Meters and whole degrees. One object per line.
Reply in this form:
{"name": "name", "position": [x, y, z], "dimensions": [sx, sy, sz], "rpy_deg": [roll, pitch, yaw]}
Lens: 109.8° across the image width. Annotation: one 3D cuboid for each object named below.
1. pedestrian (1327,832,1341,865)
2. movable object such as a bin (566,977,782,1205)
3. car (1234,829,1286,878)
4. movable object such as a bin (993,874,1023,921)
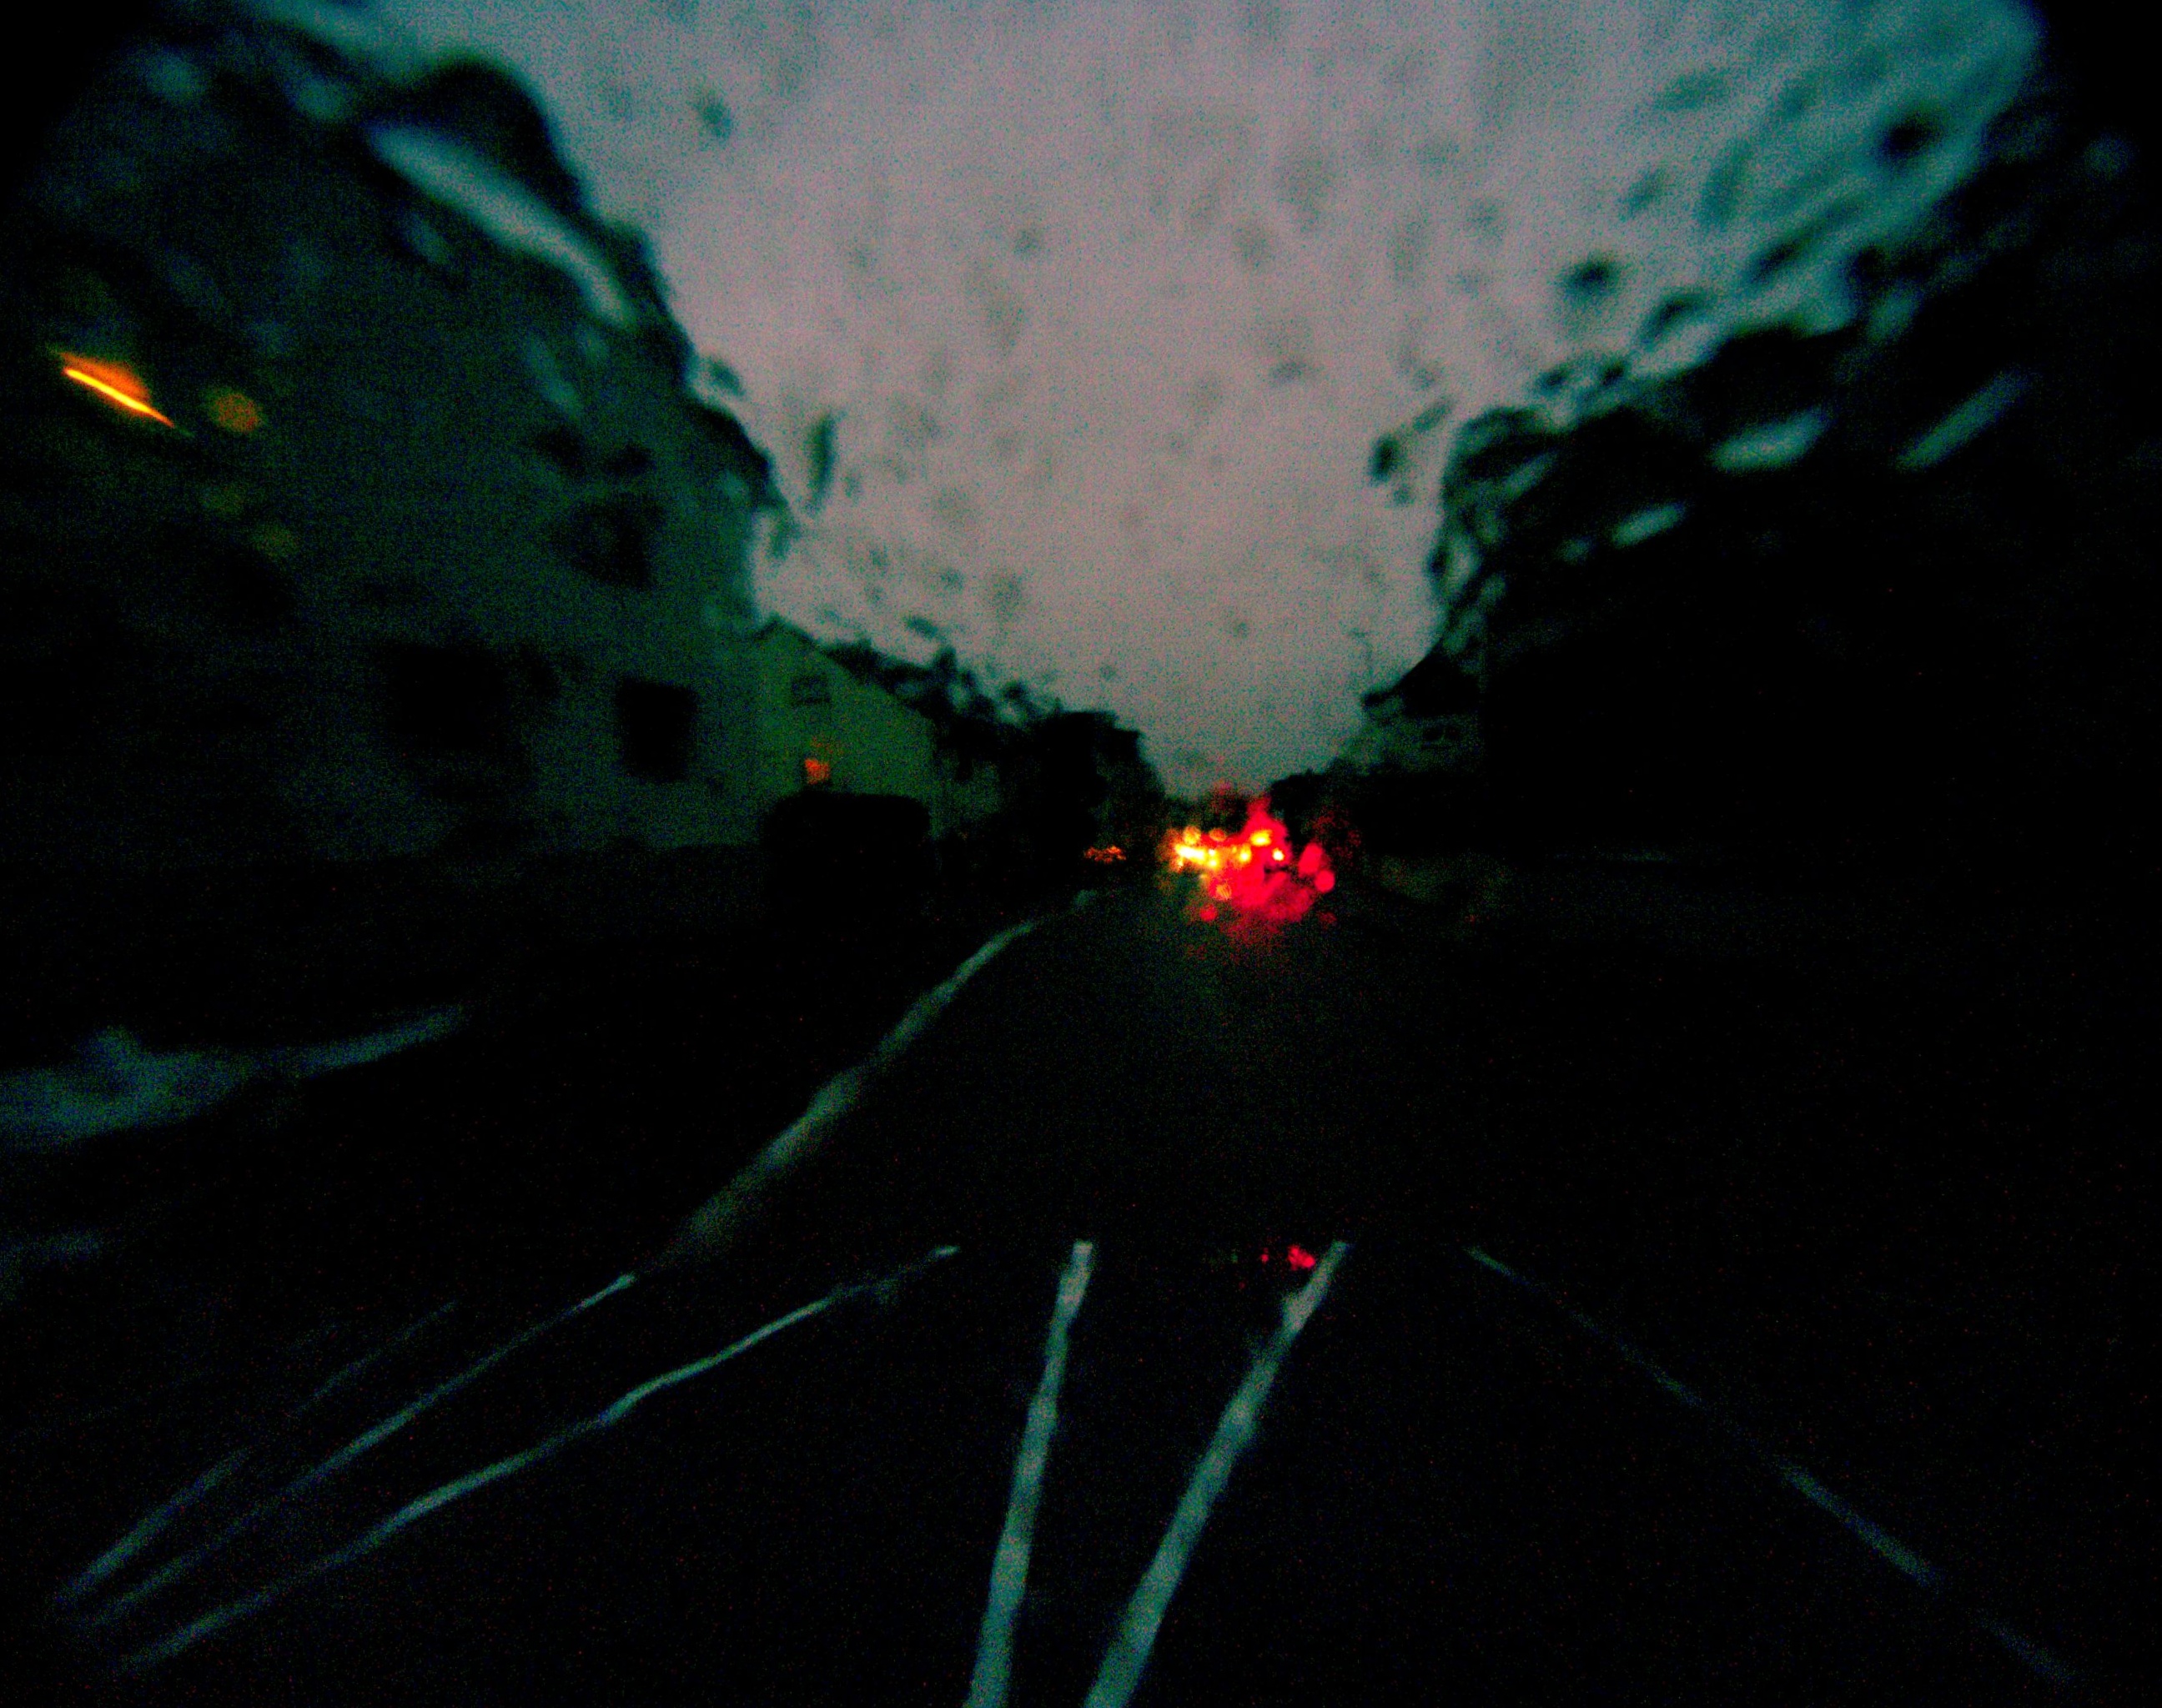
{"name": "pedestrian", "position": [13.652, -0.293, 41.049], "dimensions": [0.598, 1.723, 0.813], "rpy_deg": [-3, 3, 20]}
{"name": "movable object such as a bin", "position": [-1.998, 1.147, 3.820], "dimensions": [0.638, 0.912, 0.686], "rpy_deg": [-3, 1, 4]}
{"name": "car", "position": [8.119, -0.088, 34.546], "dimensions": [2.113, 2.015, 4.986], "rpy_deg": [-1, 1, 13]}
{"name": "movable object such as a bin", "position": [-1.547, 0.914, 16.137], "dimensions": [0.539, 0.933, 0.689], "rpy_deg": [-3, 1, -2]}
